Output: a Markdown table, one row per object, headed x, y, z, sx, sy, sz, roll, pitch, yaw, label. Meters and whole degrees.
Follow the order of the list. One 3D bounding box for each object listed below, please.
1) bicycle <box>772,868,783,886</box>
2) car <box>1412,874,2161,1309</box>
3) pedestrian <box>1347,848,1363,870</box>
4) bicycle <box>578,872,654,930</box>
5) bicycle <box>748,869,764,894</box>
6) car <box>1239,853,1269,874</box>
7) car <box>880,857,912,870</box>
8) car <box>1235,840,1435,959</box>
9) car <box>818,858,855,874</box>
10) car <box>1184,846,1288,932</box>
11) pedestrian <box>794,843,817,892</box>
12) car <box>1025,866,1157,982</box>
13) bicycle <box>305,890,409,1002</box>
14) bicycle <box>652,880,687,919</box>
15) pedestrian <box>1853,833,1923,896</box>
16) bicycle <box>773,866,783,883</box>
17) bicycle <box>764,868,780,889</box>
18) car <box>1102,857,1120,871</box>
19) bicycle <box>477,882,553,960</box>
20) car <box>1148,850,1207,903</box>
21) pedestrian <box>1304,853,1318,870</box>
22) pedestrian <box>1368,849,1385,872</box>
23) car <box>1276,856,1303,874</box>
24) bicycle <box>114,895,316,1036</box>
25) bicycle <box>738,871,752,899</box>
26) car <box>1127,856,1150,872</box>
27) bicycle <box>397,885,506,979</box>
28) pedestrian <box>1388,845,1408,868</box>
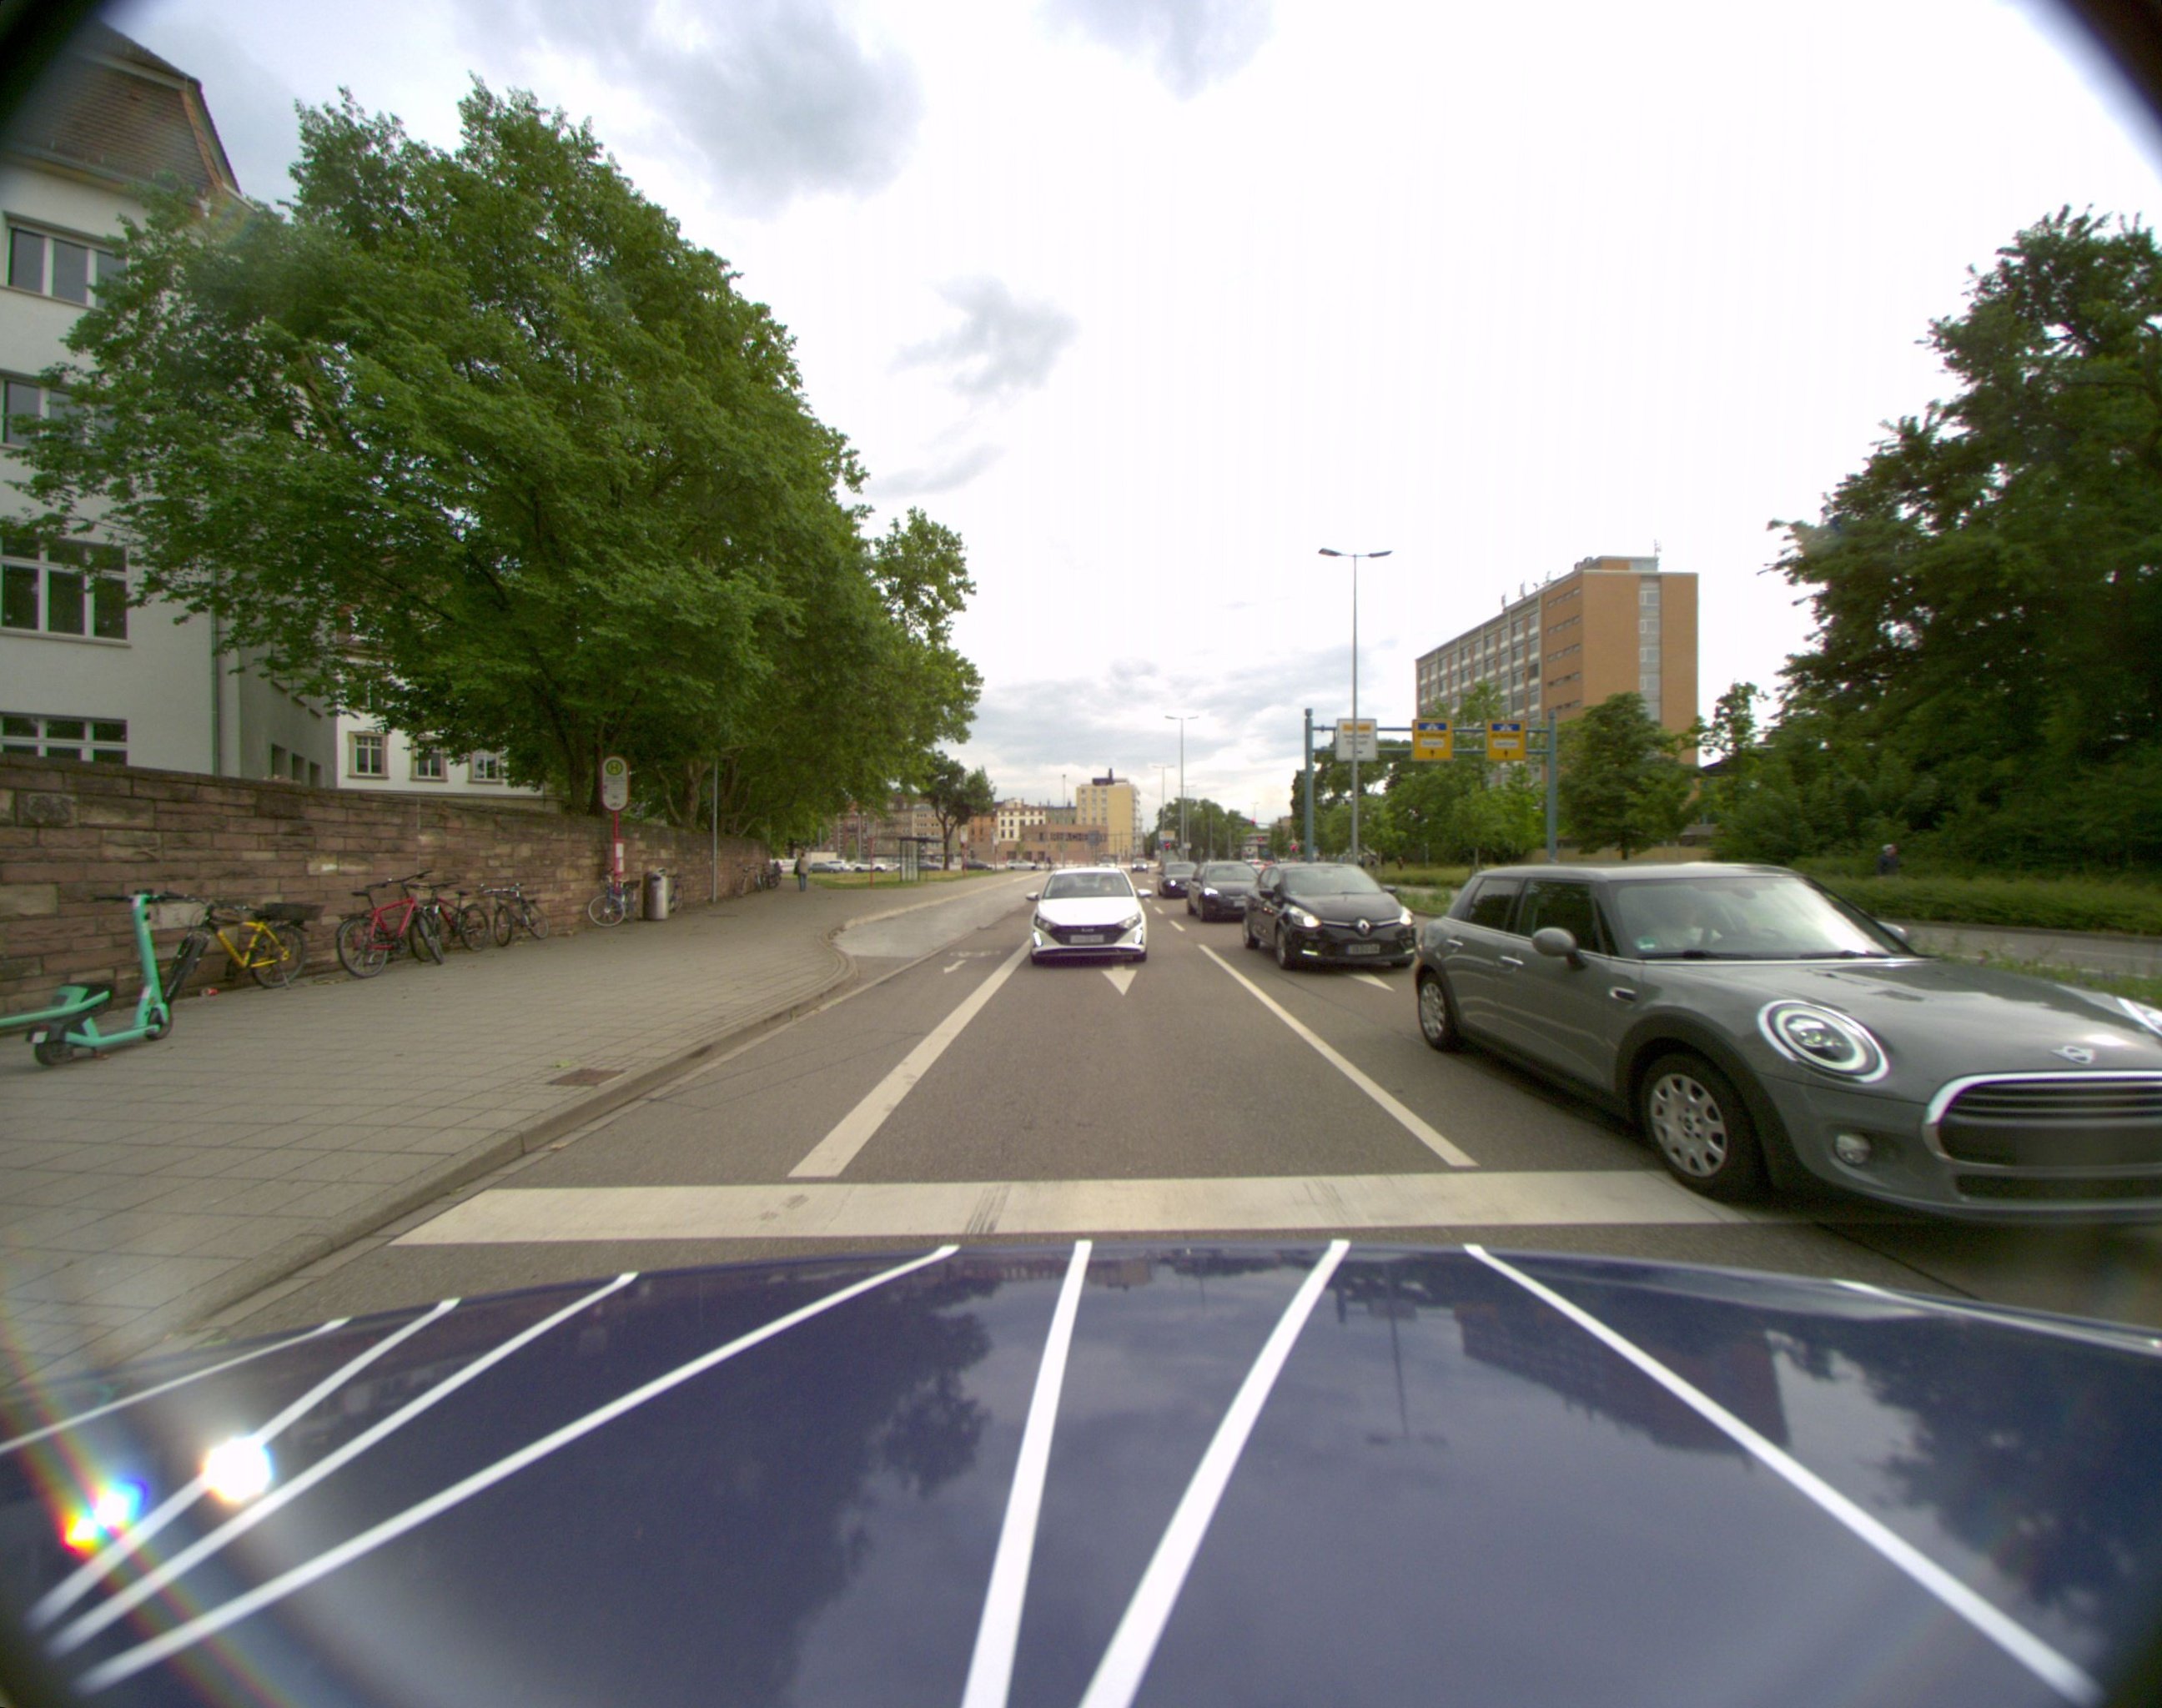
| x | y | z | sx | sy | sz | roll | pitch | yaw | label |
| --- | --- | --- | --- | --- | --- | --- | --- | --- | --- |
| -16.328 | 1.227 | 40.892 | 0.569 | 0.934 | 1.765 | 0 | 0 | -21 | bicycle |
| 3.447 | 0.811 | 4.290 | 1.625 | 1.310 | 3.706 | 0 | 0 | 2 | car |
| 25.094 | 0.468 | 69.713 | 0.882 | 2.002 | 1.221 | -2 | 0 | -6 | pedestrian |
| -9.661 | 0.941 | 15.869 | 0.478 | 1.070 | 2.082 | 0 | 0 | -6 | bicycle |
| -13.190 | 1.099 | 30.864 | 0.482 | 0.934 | 1.896 | 0 | 0 | -21 | bicycle |
| 15.831 | 0.843 | 69.844 | 1.893 | 1.763 | 4.000 | -2 | 0 | 1 | car |
| -25.044 | 1.240 | 102.859 | 3.998 | 1.760 | 1.999 | 0 | 0 | -4 | car |
| 3.506 | 0.564 | 11.295 | 1.732 | 1.450 | 4.000 | 0 | 0 | 2 | car |
| -32.989 | 1.557 | 102.457 | 4.283 | 2.002 | 1.999 | -2 | 0 | -3 | car |
| 3.890 | 0.830 | 19.731 | 1.998 | 2.002 | 4.000 | 0 | 0 | 2 | car |
| -11.751 | 0.569 | 32.437 | 0.784 | 2.002 | 0.887 | 2 | 1 | -16 | pedestrian |
| 0.197 | 0.997 | 12.438 | 1.813 | 1.532 | 4.000 | 0 | 0 | 2 | car |
| -8.632 | 1.036 | 9.128 | 0.387 | 1.137 | 1.937 | -2 | 0 | -29 | bicycle |
| -10.159 | 1.106 | 18.806 | 0.291 | 0.880 | 1.609 | 0 | 0 | -11 | bicycle |
| 21.636 | 0.286 | 20.396 | 0.990 | 1.616 | 0.813 | -2 | 0 | -1 | pedestrian |
| -18.315 | 1.230 | 45.898 | 0.561 | 0.934 | 1.351 | 0 | 0 | -21 | bicycle |
| -14.541 | 1.158 | 35.794 | 0.655 | 0.934 | 1.954 | 0 | 0 | -21 | bicycle |
| 3.035 | 0.969 | 76.623 | 1.606 | 1.360 | 3.579 | -2 | 0 | 0 | car |
| -9.308 | 1.065 | 12.549 | 0.339 | 1.137 | 1.676 | -2 | 0 | -14 | bicycle |
| 3.879 | 0.868 | 31.188 | 1.998 | 2.002 | 4.000 | 0 | 0 | 2 | car |
| 28.504 | 0.952 | 94.012 | 1.223 | 2.002 | 1.520 | -2 | 0 | 1 | pedestrian |
| 26.519 | 0.615 | 68.273 | 0.882 | 2.002 | 1.221 | -2 | 0 | -6 | pedestrian |
| 18.940 | 0.957 | 69.071 | 1.853 | 1.543 | 4.002 | -1 | 0 | 8 | car |
| -8.562 | 1.031 | 7.628 | 0.386 | 1.137 | 1.939 | -2 | 0 | -19 | bicycle |
| -11.792 | 1.083 | 26.707 | 0.365 | 0.934 | 1.638 | 0 | 0 | -21 | bicycle |
| 5.803 | 0.981 | 77.367 | 1.998 | 1.536 | 4.000 | -3 | 0 | 0 | car |
| -8.834 | 1.045 | 10.746 | 0.339 | 1.137 | 1.939 | -2 | 0 | -14 | bicycle |
| 26.462 | 0.198 | 63.403 | 1.137 | 1.907 | 1.162 | -2 | 0 | 5 | pedestrian |
